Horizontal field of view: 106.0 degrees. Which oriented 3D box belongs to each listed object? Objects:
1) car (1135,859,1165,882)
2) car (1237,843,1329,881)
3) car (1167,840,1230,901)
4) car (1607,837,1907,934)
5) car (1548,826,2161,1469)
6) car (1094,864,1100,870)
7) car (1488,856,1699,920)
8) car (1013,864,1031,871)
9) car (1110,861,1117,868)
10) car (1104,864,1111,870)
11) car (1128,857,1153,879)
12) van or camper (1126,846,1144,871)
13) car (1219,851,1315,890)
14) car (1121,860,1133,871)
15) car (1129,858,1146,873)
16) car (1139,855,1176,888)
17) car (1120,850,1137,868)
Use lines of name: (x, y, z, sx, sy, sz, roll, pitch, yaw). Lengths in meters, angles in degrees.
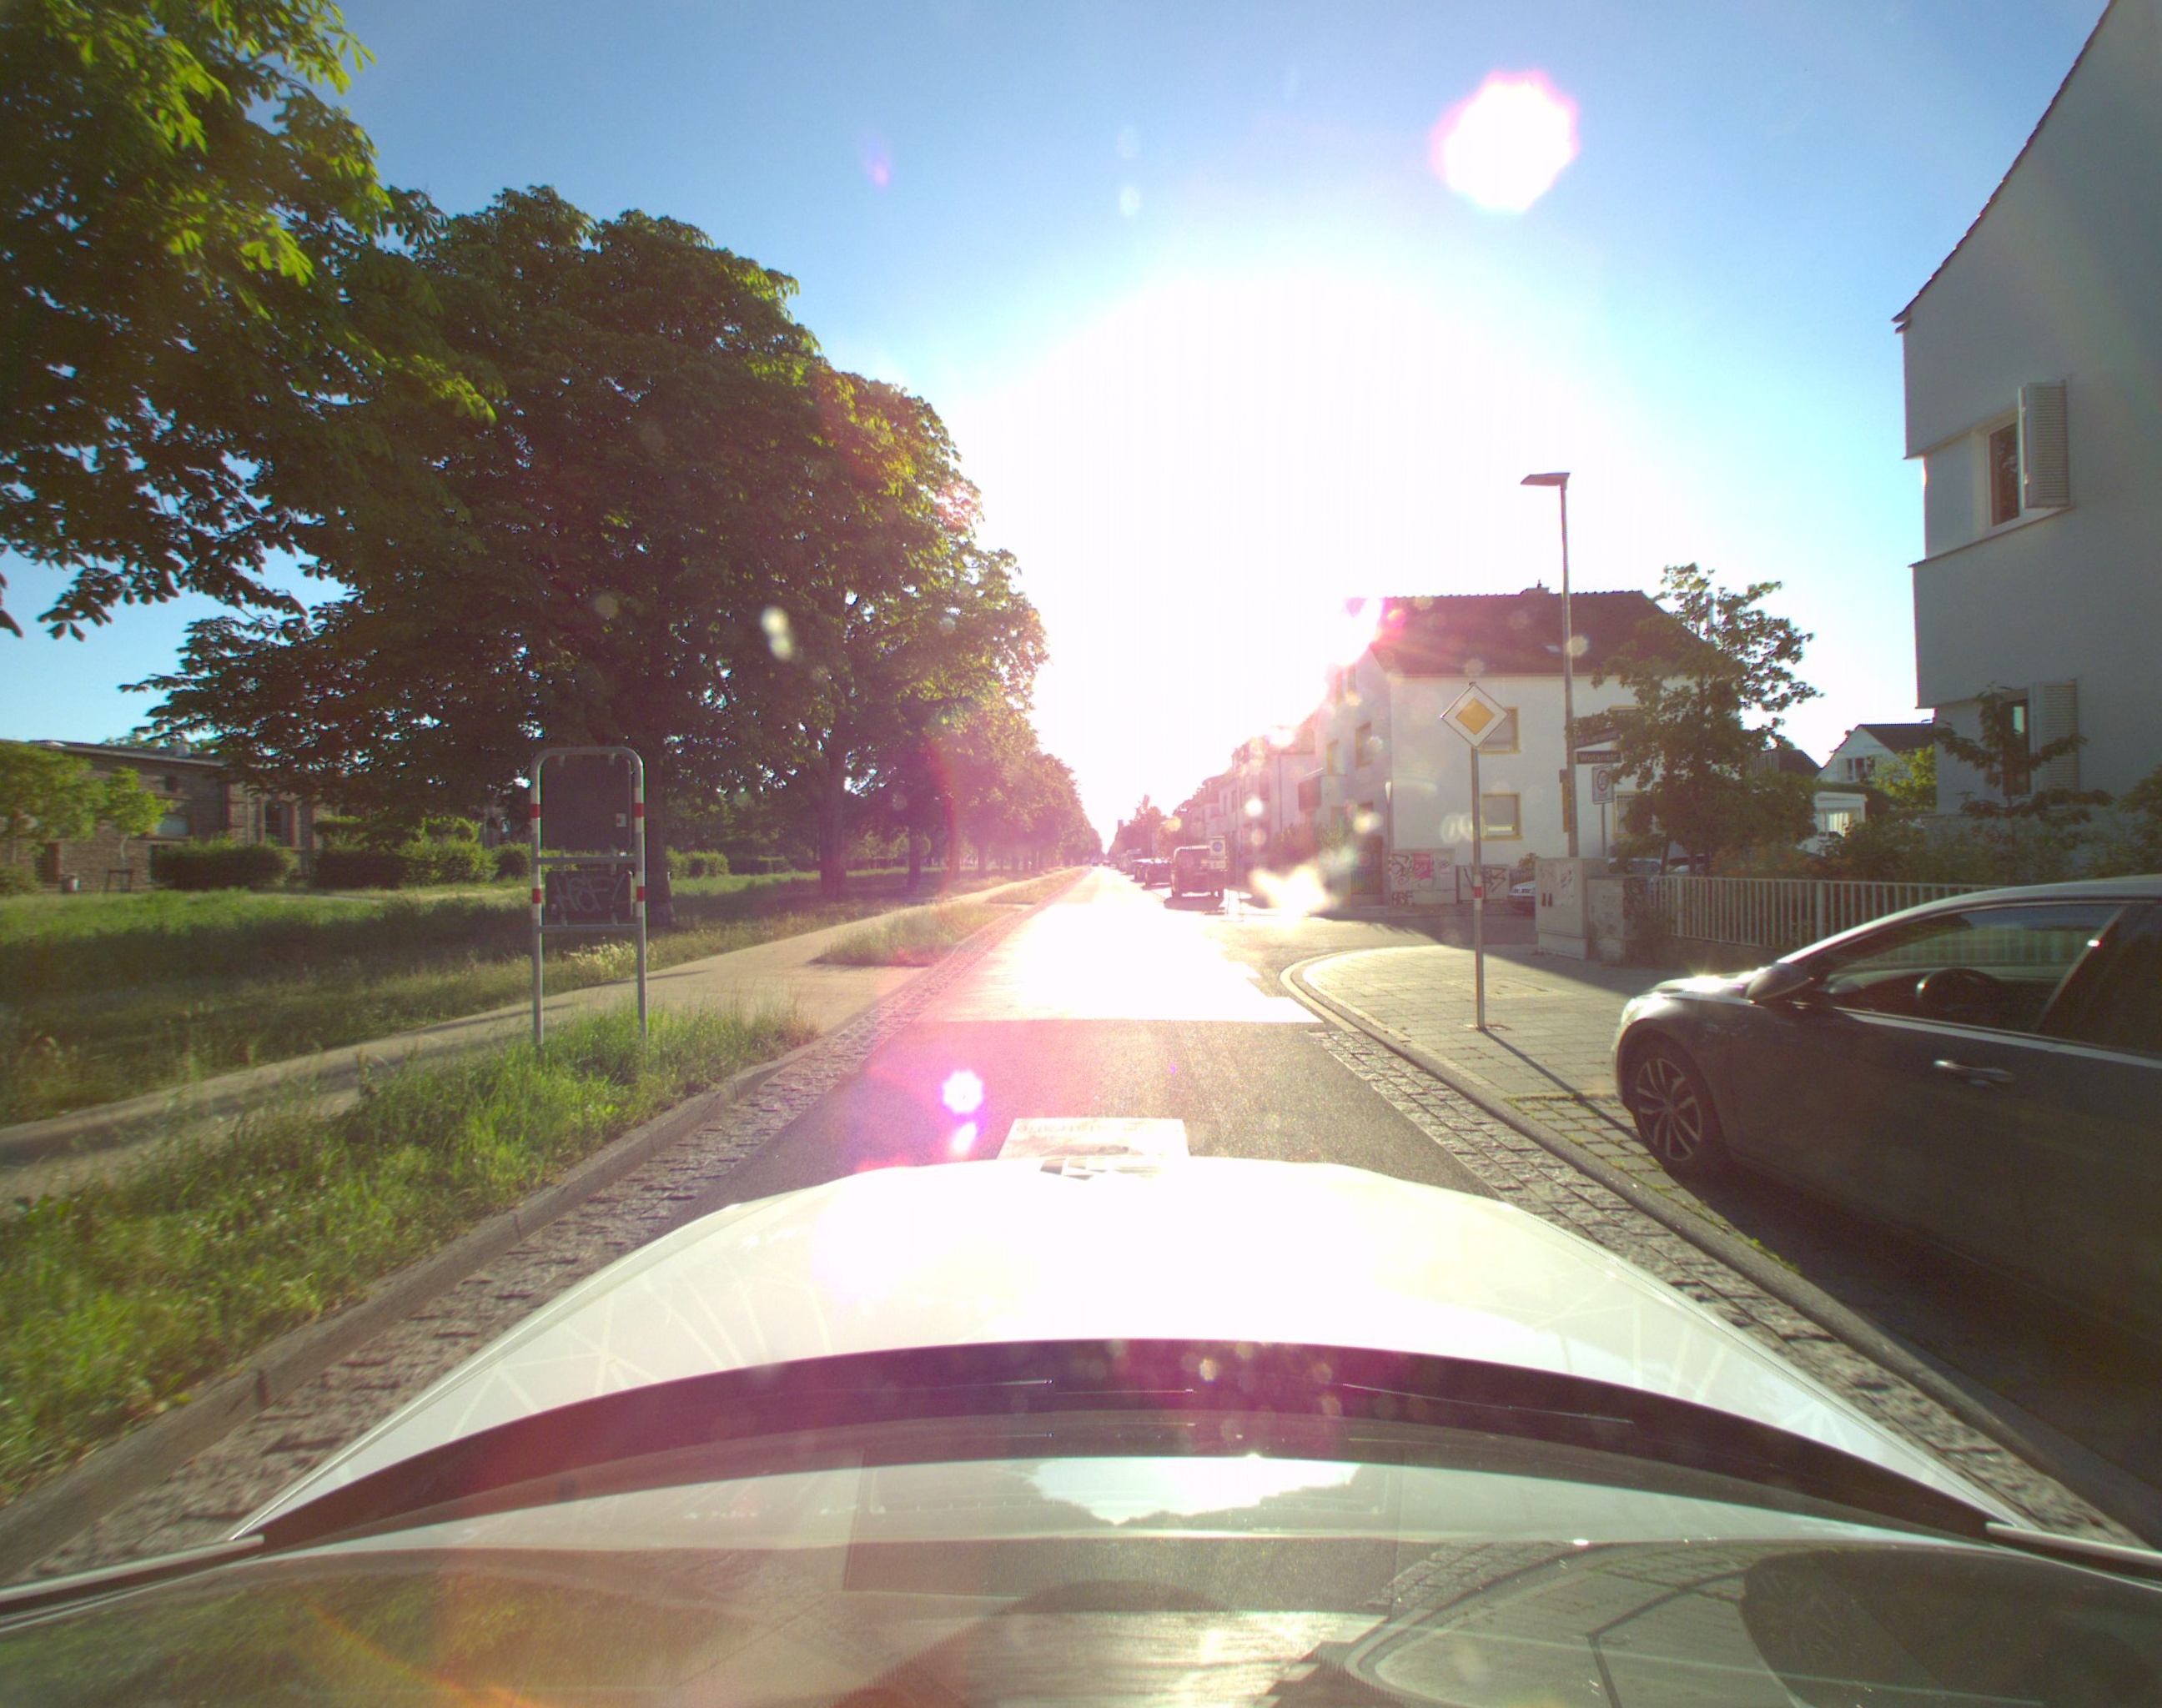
car: (5.135, 1.242, 60.919, 1.713, 1.574, 4.207, -4, -1, -2)
car: (10.398, 0.419, 42.081, 4.206, 1.726, 1.852, -2, -1, -2)
car: (4.590, 0.619, 32.393, 1.898, 2.132, 4.817, -4, 0, 3)
car: (12.489, 0.563, 15.247, 4.077, 1.689, 1.894, 0, -1, -1)
car: (3.528, 0.701, 2.599, 1.787, 1.482, 4.126, -4, 1, 3)
car: (4.614, 3.795, 232.473, 1.856, 1.597, 3.870, 0, -1, 1)
car: (12.602, 0.816, 20.208, 4.059, 1.470, 1.894, 0, -1, -1)
car: (-14.249, 3.233, 197.614, 4.342, 1.764, 1.995, 0, -1, -7)
car: (8.520, 2.725, 211.844, 1.643, 1.530, 3.854, -1, 0, 3)
car: (7.410, 3.753, 230.342, 1.856, 1.597, 3.894, 0, 0, 1)
car: (4.838, 1.118, 66.672, 1.825, 1.685, 4.417, 0, 0, 2)
van or camper: (6.183, 0.542, 94.067, 1.936, 2.777, 5.942, 0, -1, 2)
car: (9.022, 0.802, 39.762, 4.206, 1.726, 1.852, -2, -1, -2)
car: (6.632, 1.690, 118.188, 1.643, 1.530, 3.854, -3, 0, 3)
car: (6.059, 1.196, 87.496, 1.657, 1.593, 4.087, 0, 0, 2)
car: (4.555, 0.996, 48.938, 1.787, 1.771, 4.474, -4, 0, 2)
car: (7.221, 0.737, 124.366, 2.120, 2.532, 5.187, -3, 0, 0)
